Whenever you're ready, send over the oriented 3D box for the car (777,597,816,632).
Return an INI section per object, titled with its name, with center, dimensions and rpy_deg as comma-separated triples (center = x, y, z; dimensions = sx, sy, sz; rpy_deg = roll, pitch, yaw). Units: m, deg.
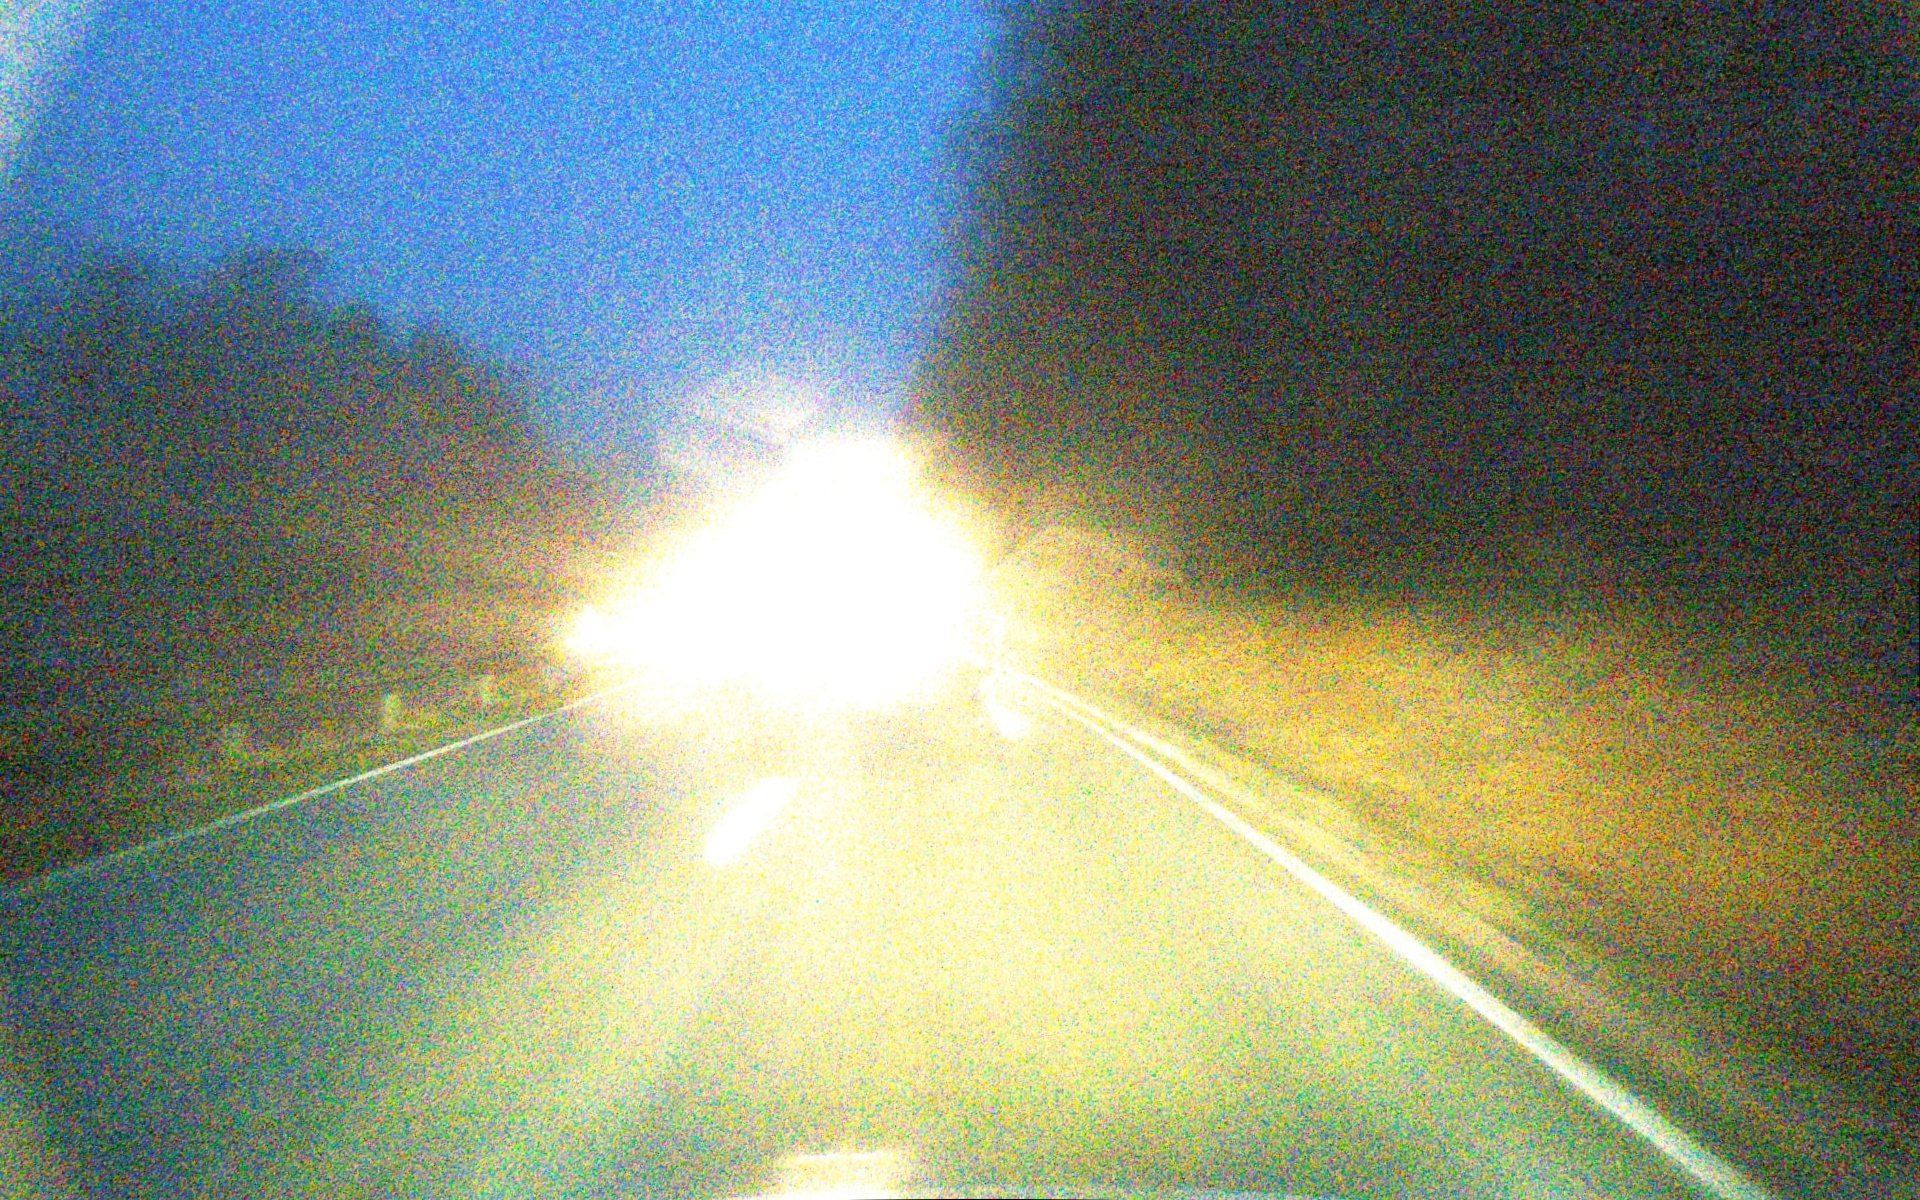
[car]
center = -7.858, 0.673, 79.935
dimensions = 1.687, 1.641, 3.999
rpy_deg = 1, 0, -4
